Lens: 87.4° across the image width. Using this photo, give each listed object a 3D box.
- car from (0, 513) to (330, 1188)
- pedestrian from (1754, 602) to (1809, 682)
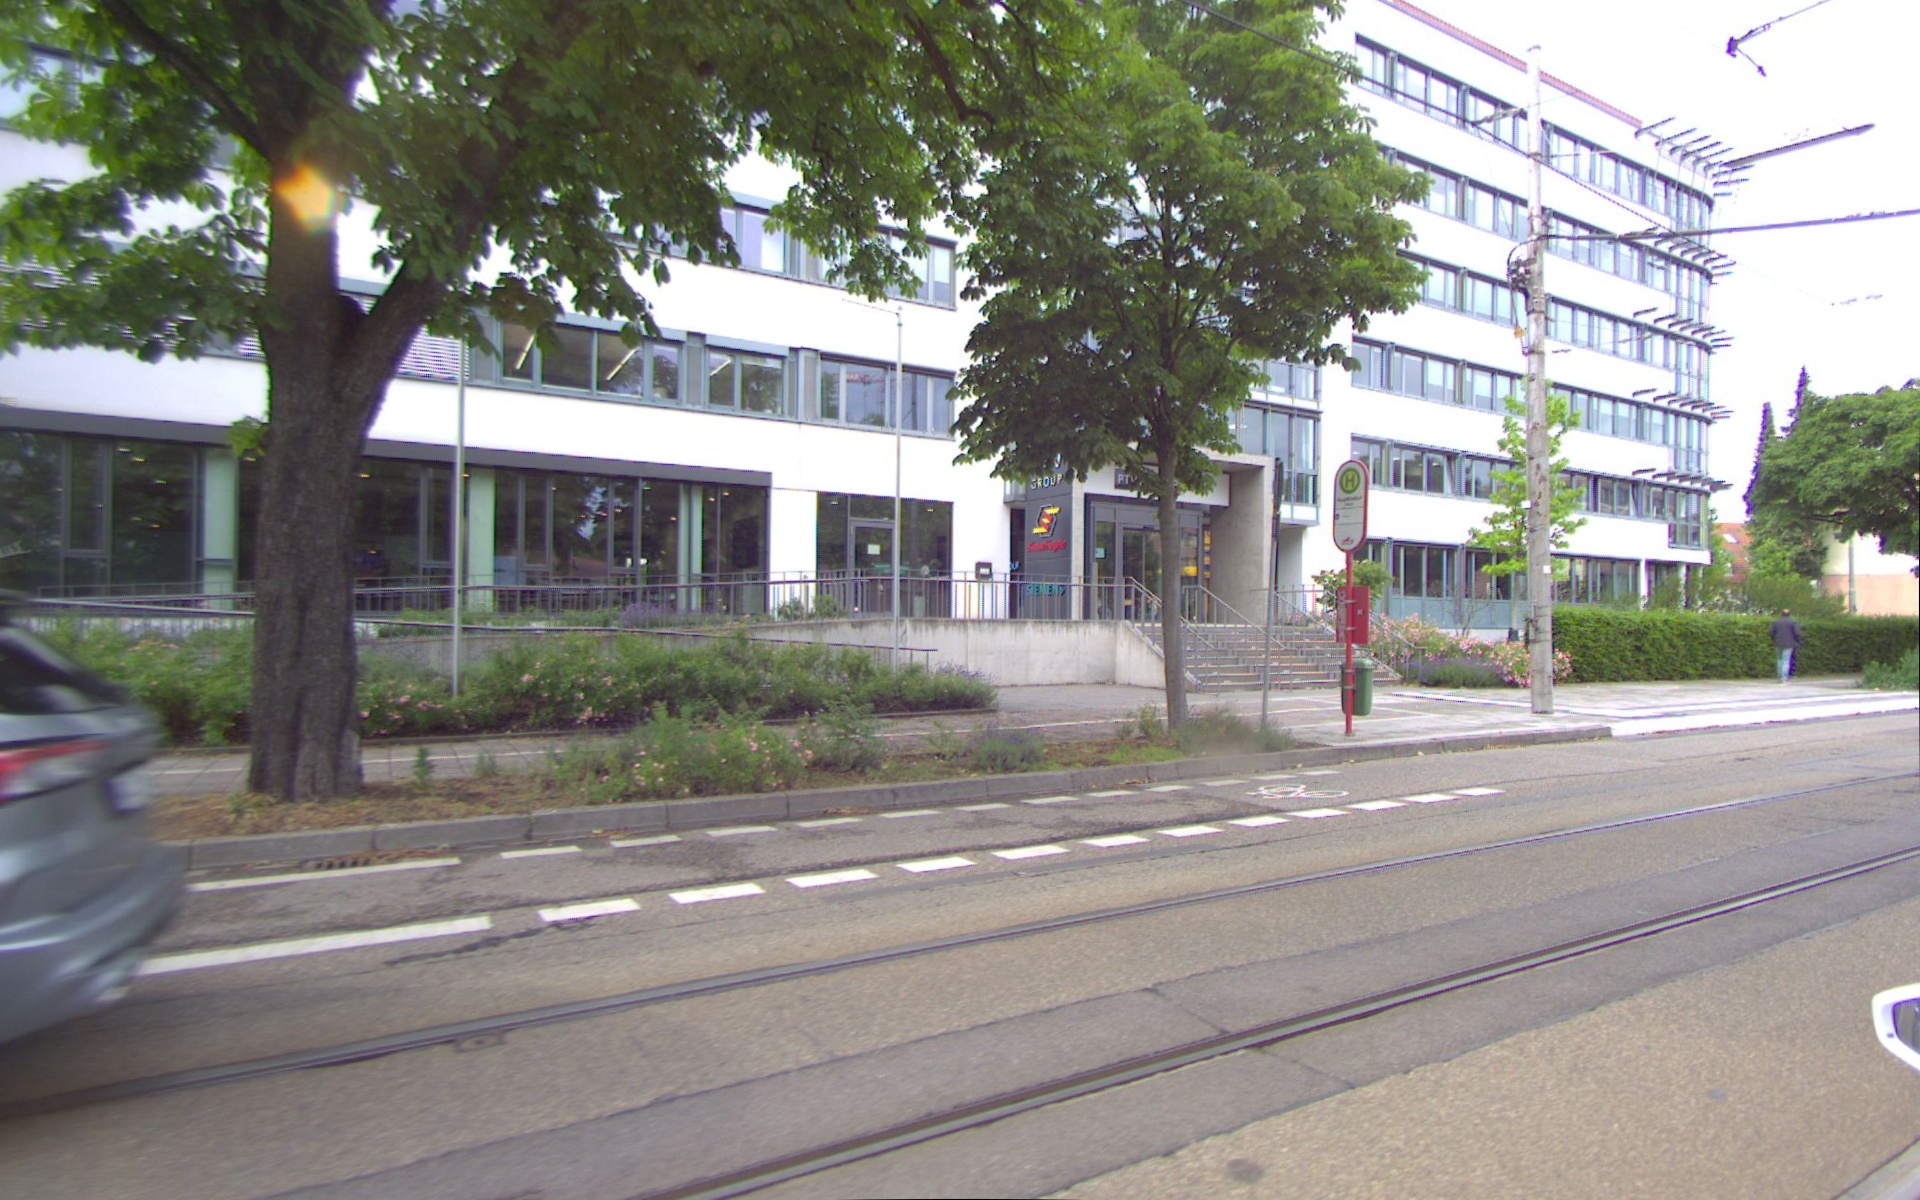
[{"bbox_3d":[-4.202,0.657,2.518,4.337,1.676,1.834,0,-3,-30],"label":"car"},{"bbox_3d":[21.495,1.094,26.285,0.976,2.040,0.708,1,0,-23],"label":"pedestrian"}]
